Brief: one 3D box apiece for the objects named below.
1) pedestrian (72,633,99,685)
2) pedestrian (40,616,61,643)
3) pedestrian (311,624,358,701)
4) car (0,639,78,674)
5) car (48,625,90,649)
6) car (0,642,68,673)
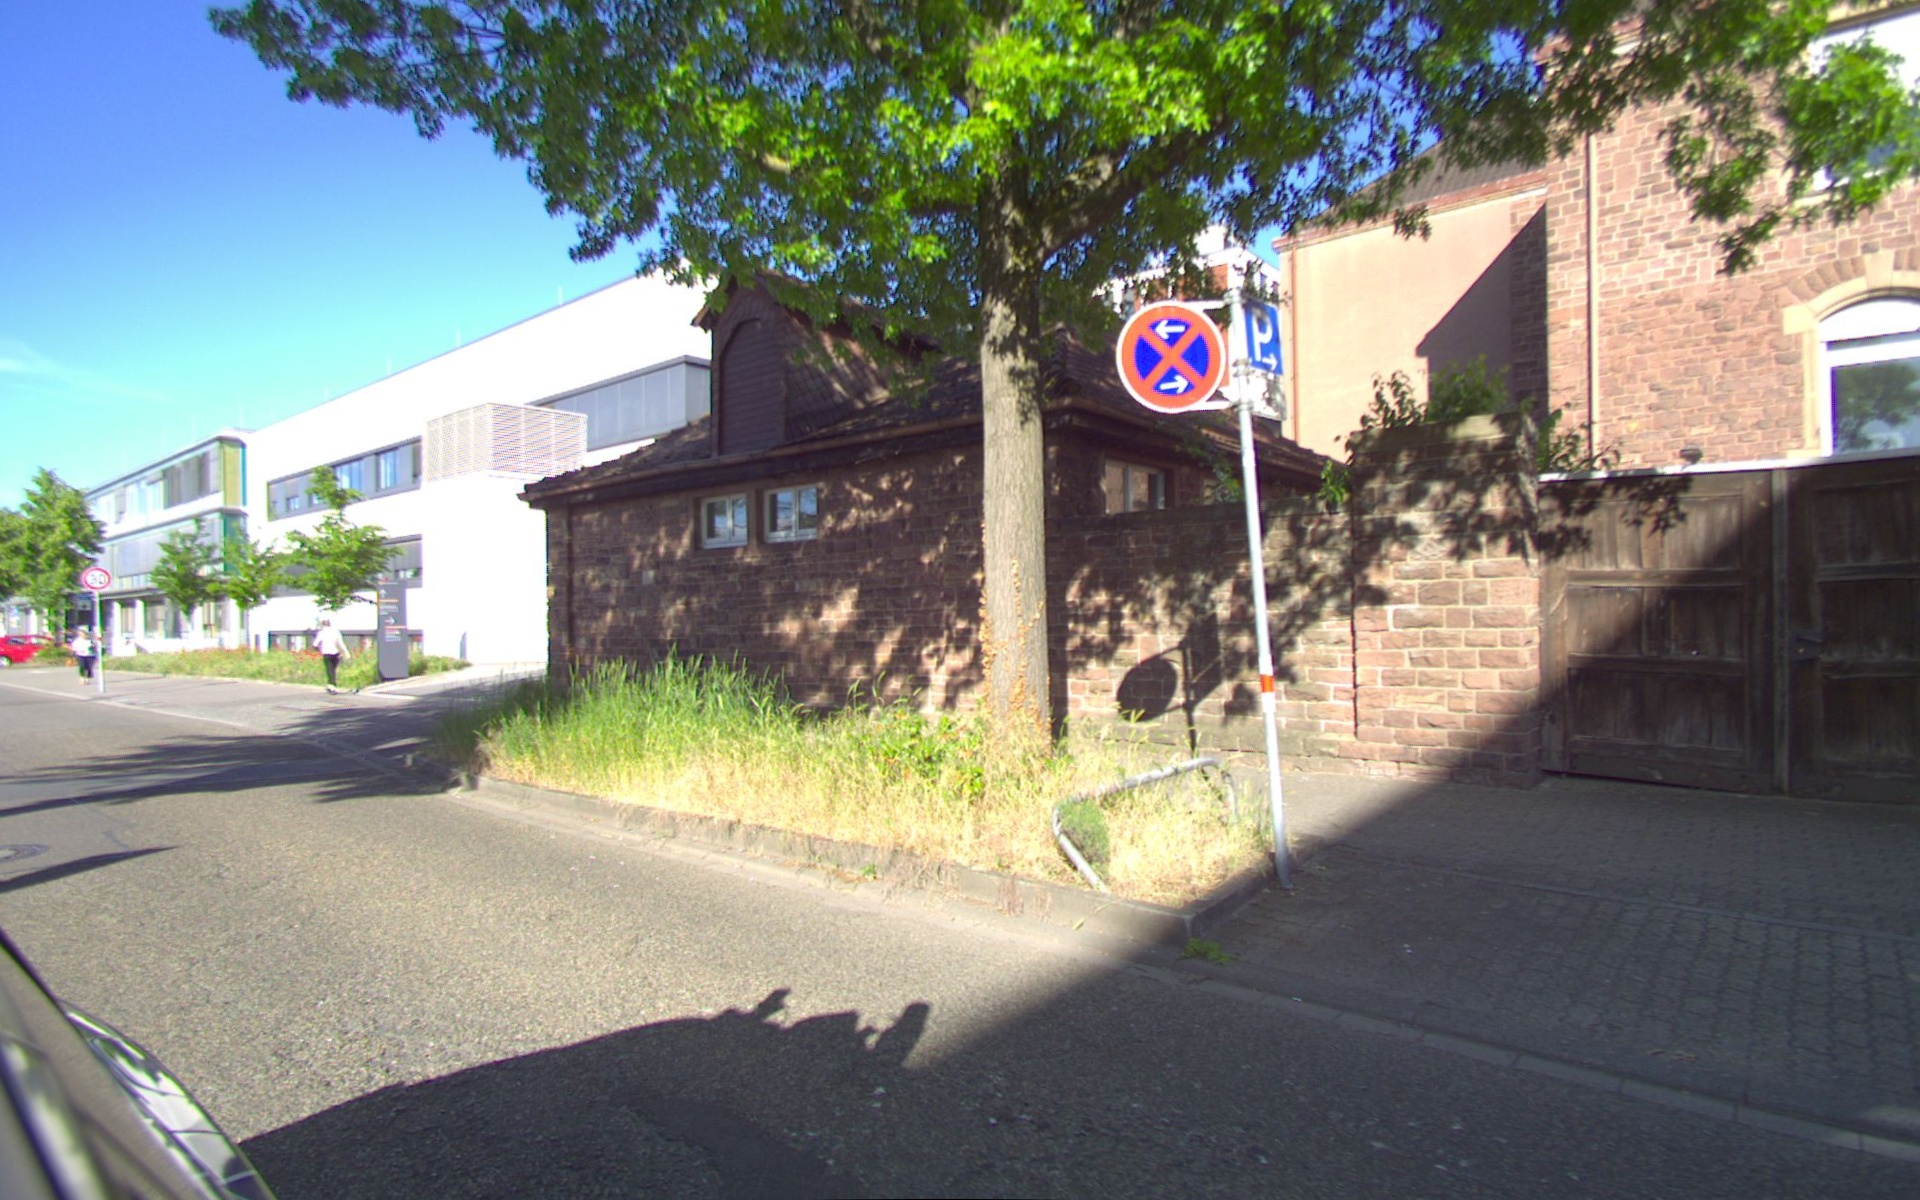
[{"bbox_3d":[-26.159,1.757,30.276,0.607,1.535,0.532,-2,-2,41],"label":"pedestrian"},{"bbox_3d":[-53.123,1.715,59.091,0.779,1.560,0.765,-2,0,40],"label":"pedestrian"},{"bbox_3d":[-13.295,1.316,21.502,1.095,1.574,0.516,-2,-2,39],"label":"pedestrian"},{"bbox_3d":[-43.825,2.658,47.480,3.592,1.480,1.615,-2,-1,-44],"label":"car"},{"bbox_3d":[-73.800,3.108,83.813,4.707,1.905,1.900,-3,-2,40],"label":"car"},{"bbox_3d":[-45.625,2.768,48.290,1.700,1.378,4.463,-2,-1,42],"label":"car"}]
